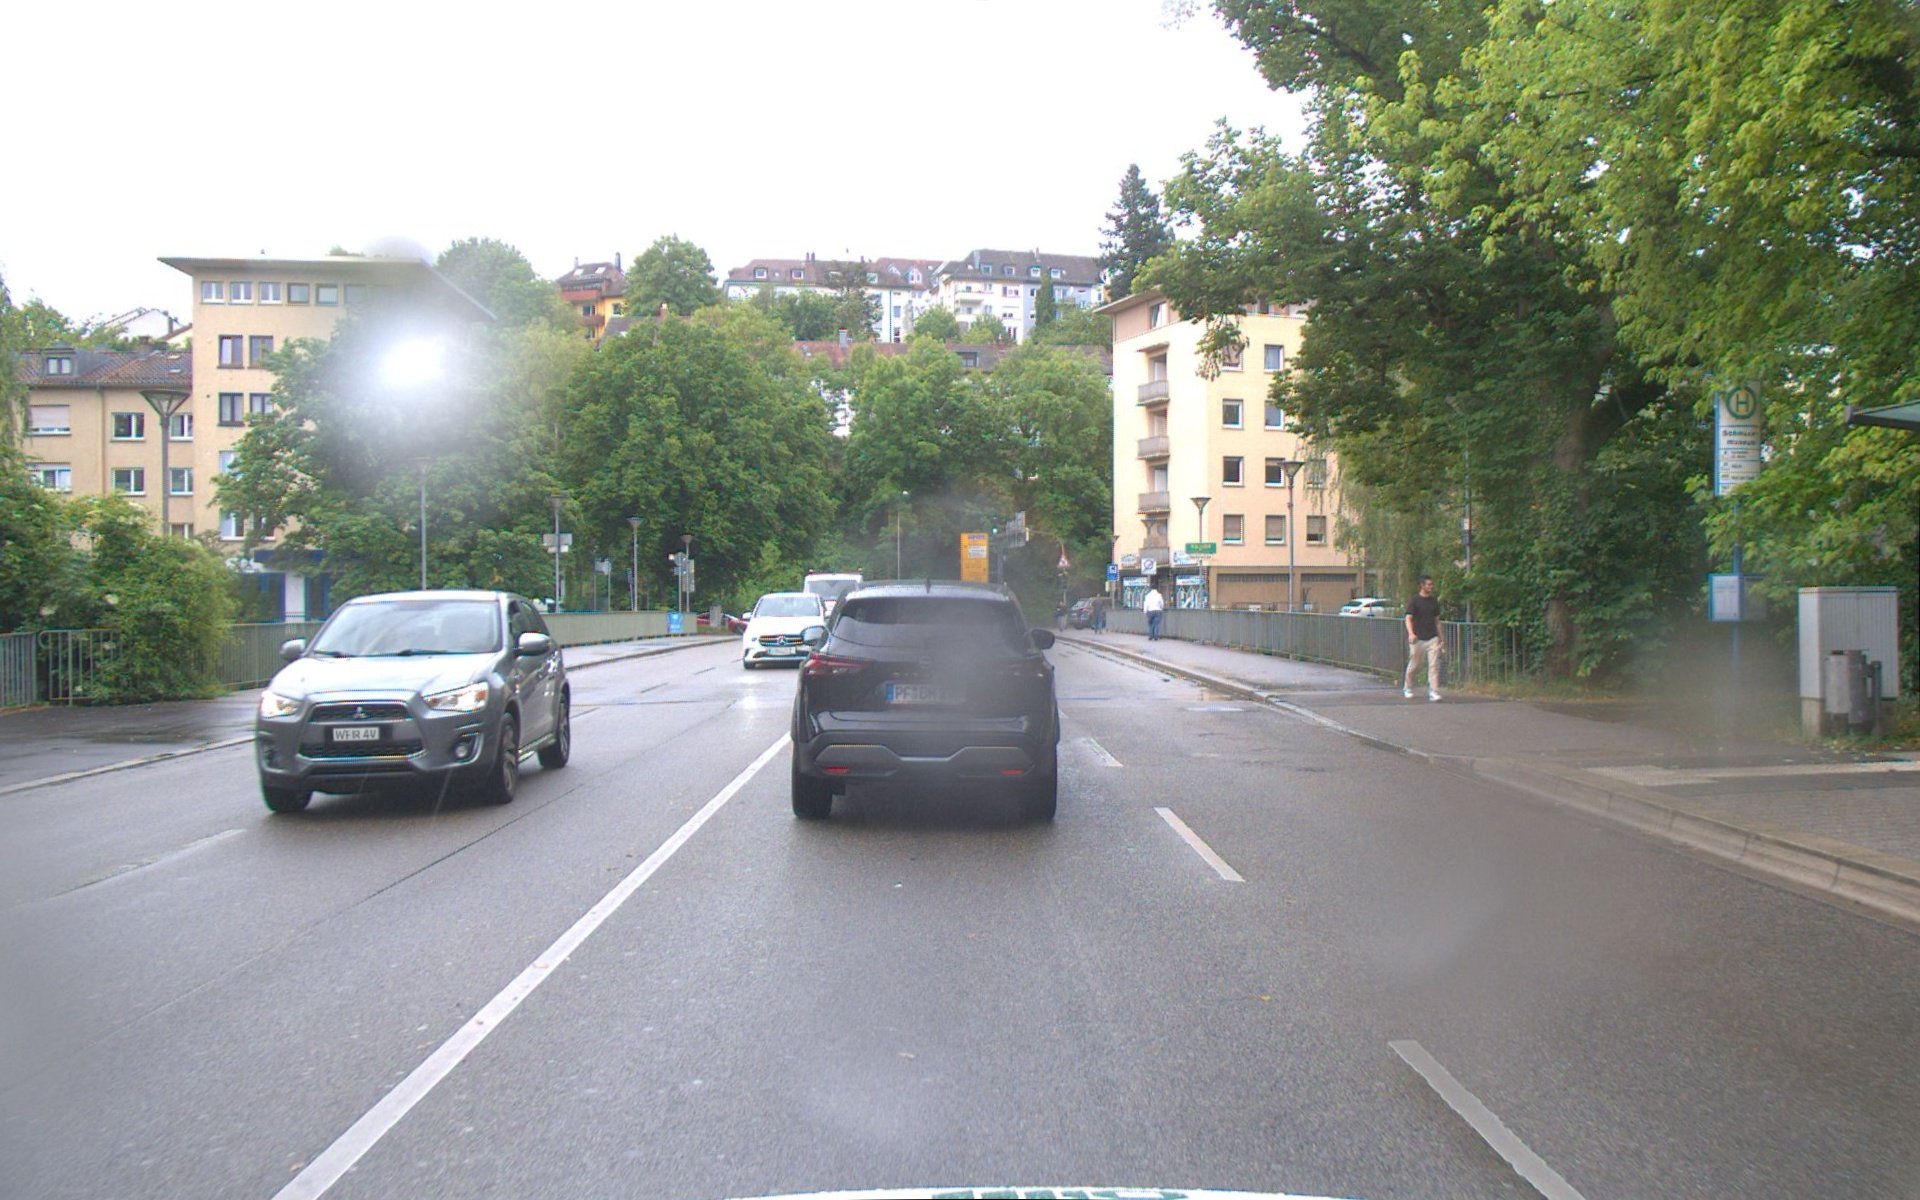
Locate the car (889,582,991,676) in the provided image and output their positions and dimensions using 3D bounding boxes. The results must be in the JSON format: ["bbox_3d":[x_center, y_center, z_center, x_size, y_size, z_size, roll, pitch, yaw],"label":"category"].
[{"bbox_3d":[-0.383,0.501,31.087,1.774,1.631,3.999,1,0,-1],"label":"car"}]

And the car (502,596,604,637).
[{"bbox_3d":[-19.730,0.791,80.413,4.655,1.886,1.996,0,1,-10],"label":"car"}]

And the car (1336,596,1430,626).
[{"bbox_3d":[21.448,0.533,83.961,4.369,1.400,1.808,-1,2,-18],"label":"car"}]

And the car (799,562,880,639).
[{"bbox_3d":[-3.896,-0.021,54.592,2.243,2.349,6.508,-2,1,-1],"label":"car"}]

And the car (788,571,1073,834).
[{"bbox_3d":[-0.213,0.635,12.395,1.774,1.631,3.999,1,0,-1],"label":"car"}]

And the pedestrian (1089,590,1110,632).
[{"bbox_3d":[5.836,0.456,69.186,0.745,1.706,0.781,-2,0,-1],"label":"pedestrian"}]

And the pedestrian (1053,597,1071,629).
[{"bbox_3d":[5.249,0.659,85.034,0.845,1.647,0.839,-1,-1,-1],"label":"pedestrian"}]

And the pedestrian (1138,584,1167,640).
[{"bbox_3d":[6.241,0.390,53.682,0.764,1.783,1.060,-1,-1,-1],"label":"pedestrian"}]

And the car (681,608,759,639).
[{"bbox_3d":[-14.510,1.406,99.941,4.264,1.765,1.896,-1,0,7],"label":"car"}]

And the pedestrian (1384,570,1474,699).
[{"bbox_3d":[6.508,0.467,22.997,0.830,1.705,1.167,-2,-1,-1],"label":"pedestrian"}]

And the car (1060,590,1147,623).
[{"bbox_3d":[7.703,0.348,88.819,4.314,1.678,1.867,-2,-1,-27],"label":"car"}]

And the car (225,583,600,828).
[{"bbox_3d":[-4.175,0.689,13.357,1.777,1.606,4.229,-2,1,-3],"label":"car"}]

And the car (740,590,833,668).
[{"bbox_3d":[-3.677,0.576,35.636,1.746,1.499,4.164,-2,1,-3],"label":"car"}]
